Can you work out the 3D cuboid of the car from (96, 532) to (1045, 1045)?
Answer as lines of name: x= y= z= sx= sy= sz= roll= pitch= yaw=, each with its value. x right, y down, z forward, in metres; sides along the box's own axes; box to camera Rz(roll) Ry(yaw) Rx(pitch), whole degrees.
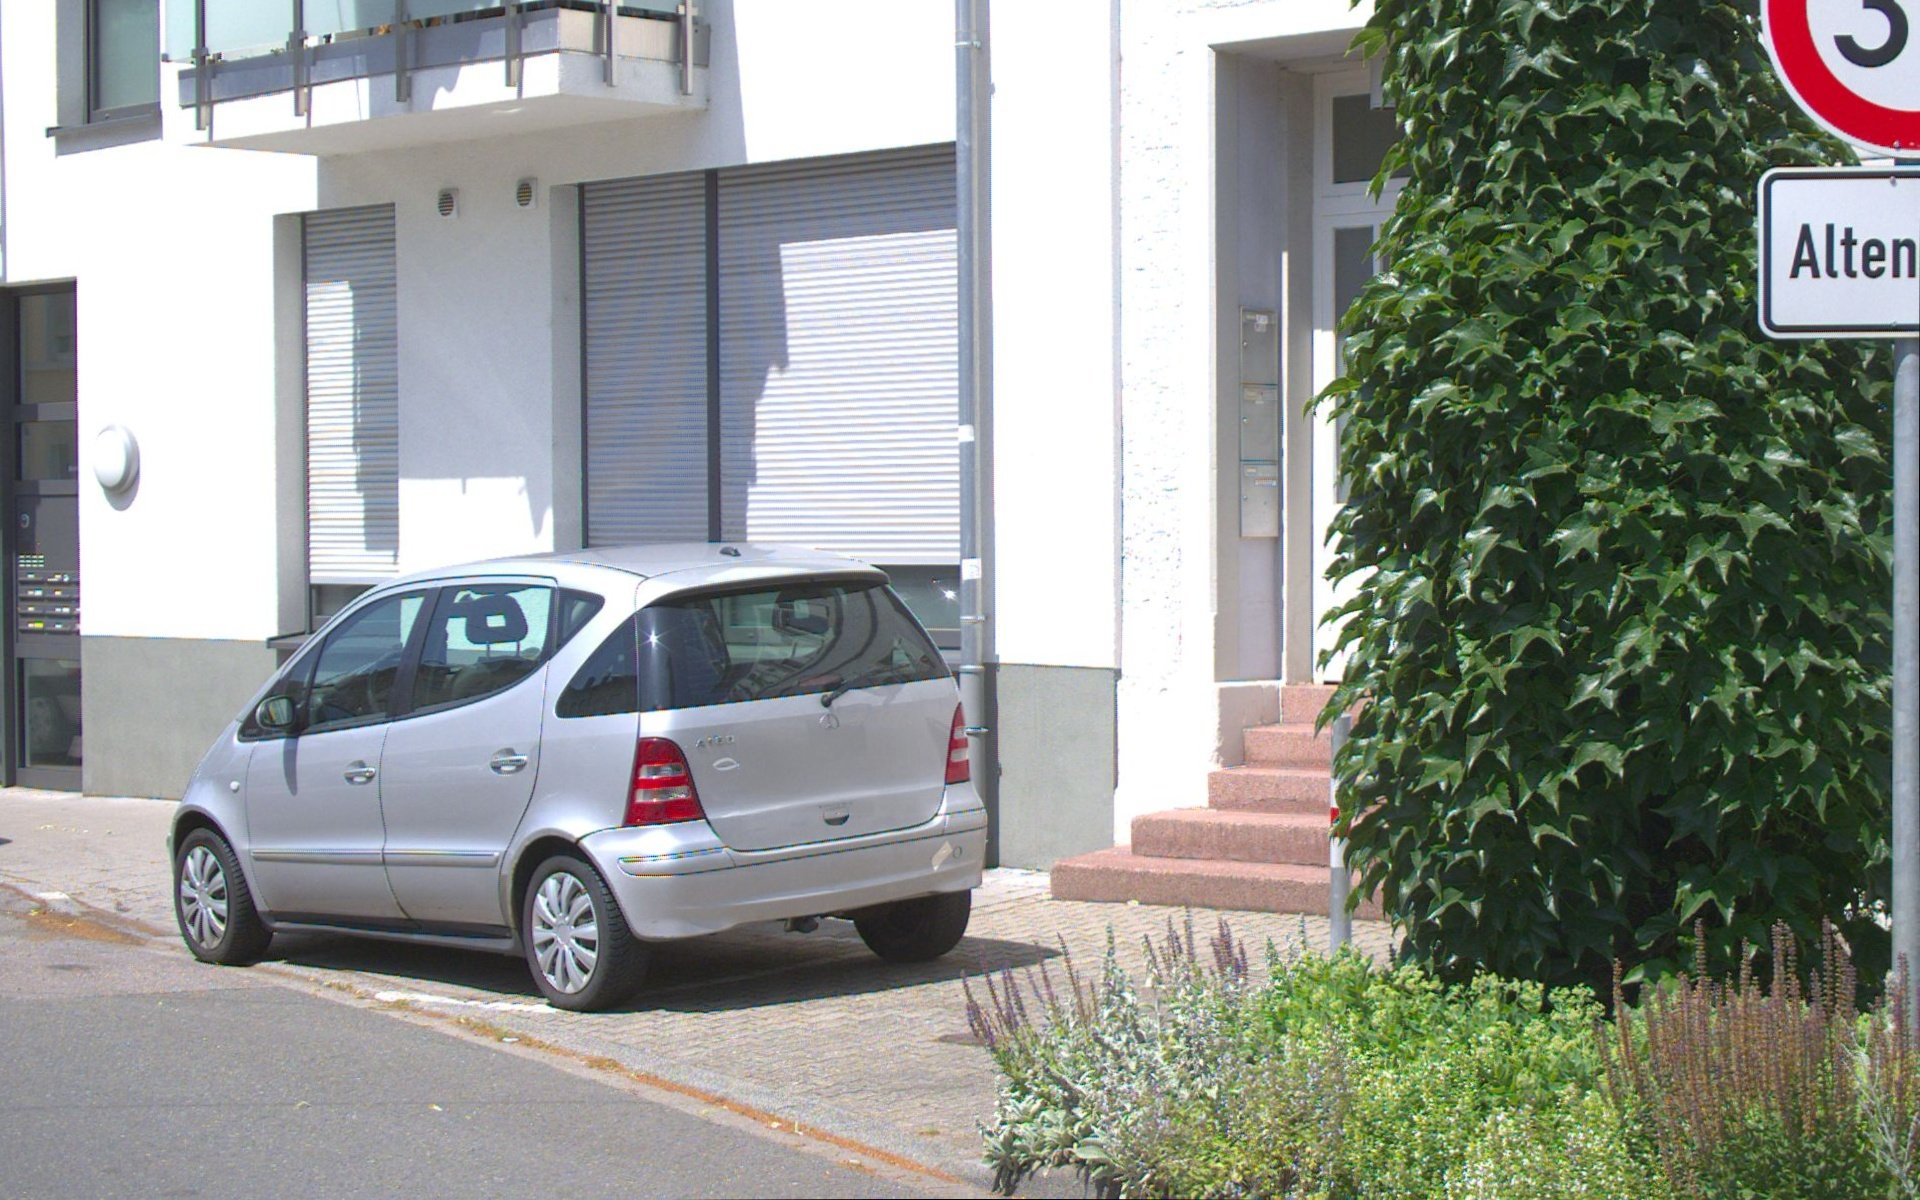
car: x=-1.619 y=0.611 z=13.272 sx=1.727 sy=1.605 sz=3.798 roll=-4 pitch=3 yaw=-41
